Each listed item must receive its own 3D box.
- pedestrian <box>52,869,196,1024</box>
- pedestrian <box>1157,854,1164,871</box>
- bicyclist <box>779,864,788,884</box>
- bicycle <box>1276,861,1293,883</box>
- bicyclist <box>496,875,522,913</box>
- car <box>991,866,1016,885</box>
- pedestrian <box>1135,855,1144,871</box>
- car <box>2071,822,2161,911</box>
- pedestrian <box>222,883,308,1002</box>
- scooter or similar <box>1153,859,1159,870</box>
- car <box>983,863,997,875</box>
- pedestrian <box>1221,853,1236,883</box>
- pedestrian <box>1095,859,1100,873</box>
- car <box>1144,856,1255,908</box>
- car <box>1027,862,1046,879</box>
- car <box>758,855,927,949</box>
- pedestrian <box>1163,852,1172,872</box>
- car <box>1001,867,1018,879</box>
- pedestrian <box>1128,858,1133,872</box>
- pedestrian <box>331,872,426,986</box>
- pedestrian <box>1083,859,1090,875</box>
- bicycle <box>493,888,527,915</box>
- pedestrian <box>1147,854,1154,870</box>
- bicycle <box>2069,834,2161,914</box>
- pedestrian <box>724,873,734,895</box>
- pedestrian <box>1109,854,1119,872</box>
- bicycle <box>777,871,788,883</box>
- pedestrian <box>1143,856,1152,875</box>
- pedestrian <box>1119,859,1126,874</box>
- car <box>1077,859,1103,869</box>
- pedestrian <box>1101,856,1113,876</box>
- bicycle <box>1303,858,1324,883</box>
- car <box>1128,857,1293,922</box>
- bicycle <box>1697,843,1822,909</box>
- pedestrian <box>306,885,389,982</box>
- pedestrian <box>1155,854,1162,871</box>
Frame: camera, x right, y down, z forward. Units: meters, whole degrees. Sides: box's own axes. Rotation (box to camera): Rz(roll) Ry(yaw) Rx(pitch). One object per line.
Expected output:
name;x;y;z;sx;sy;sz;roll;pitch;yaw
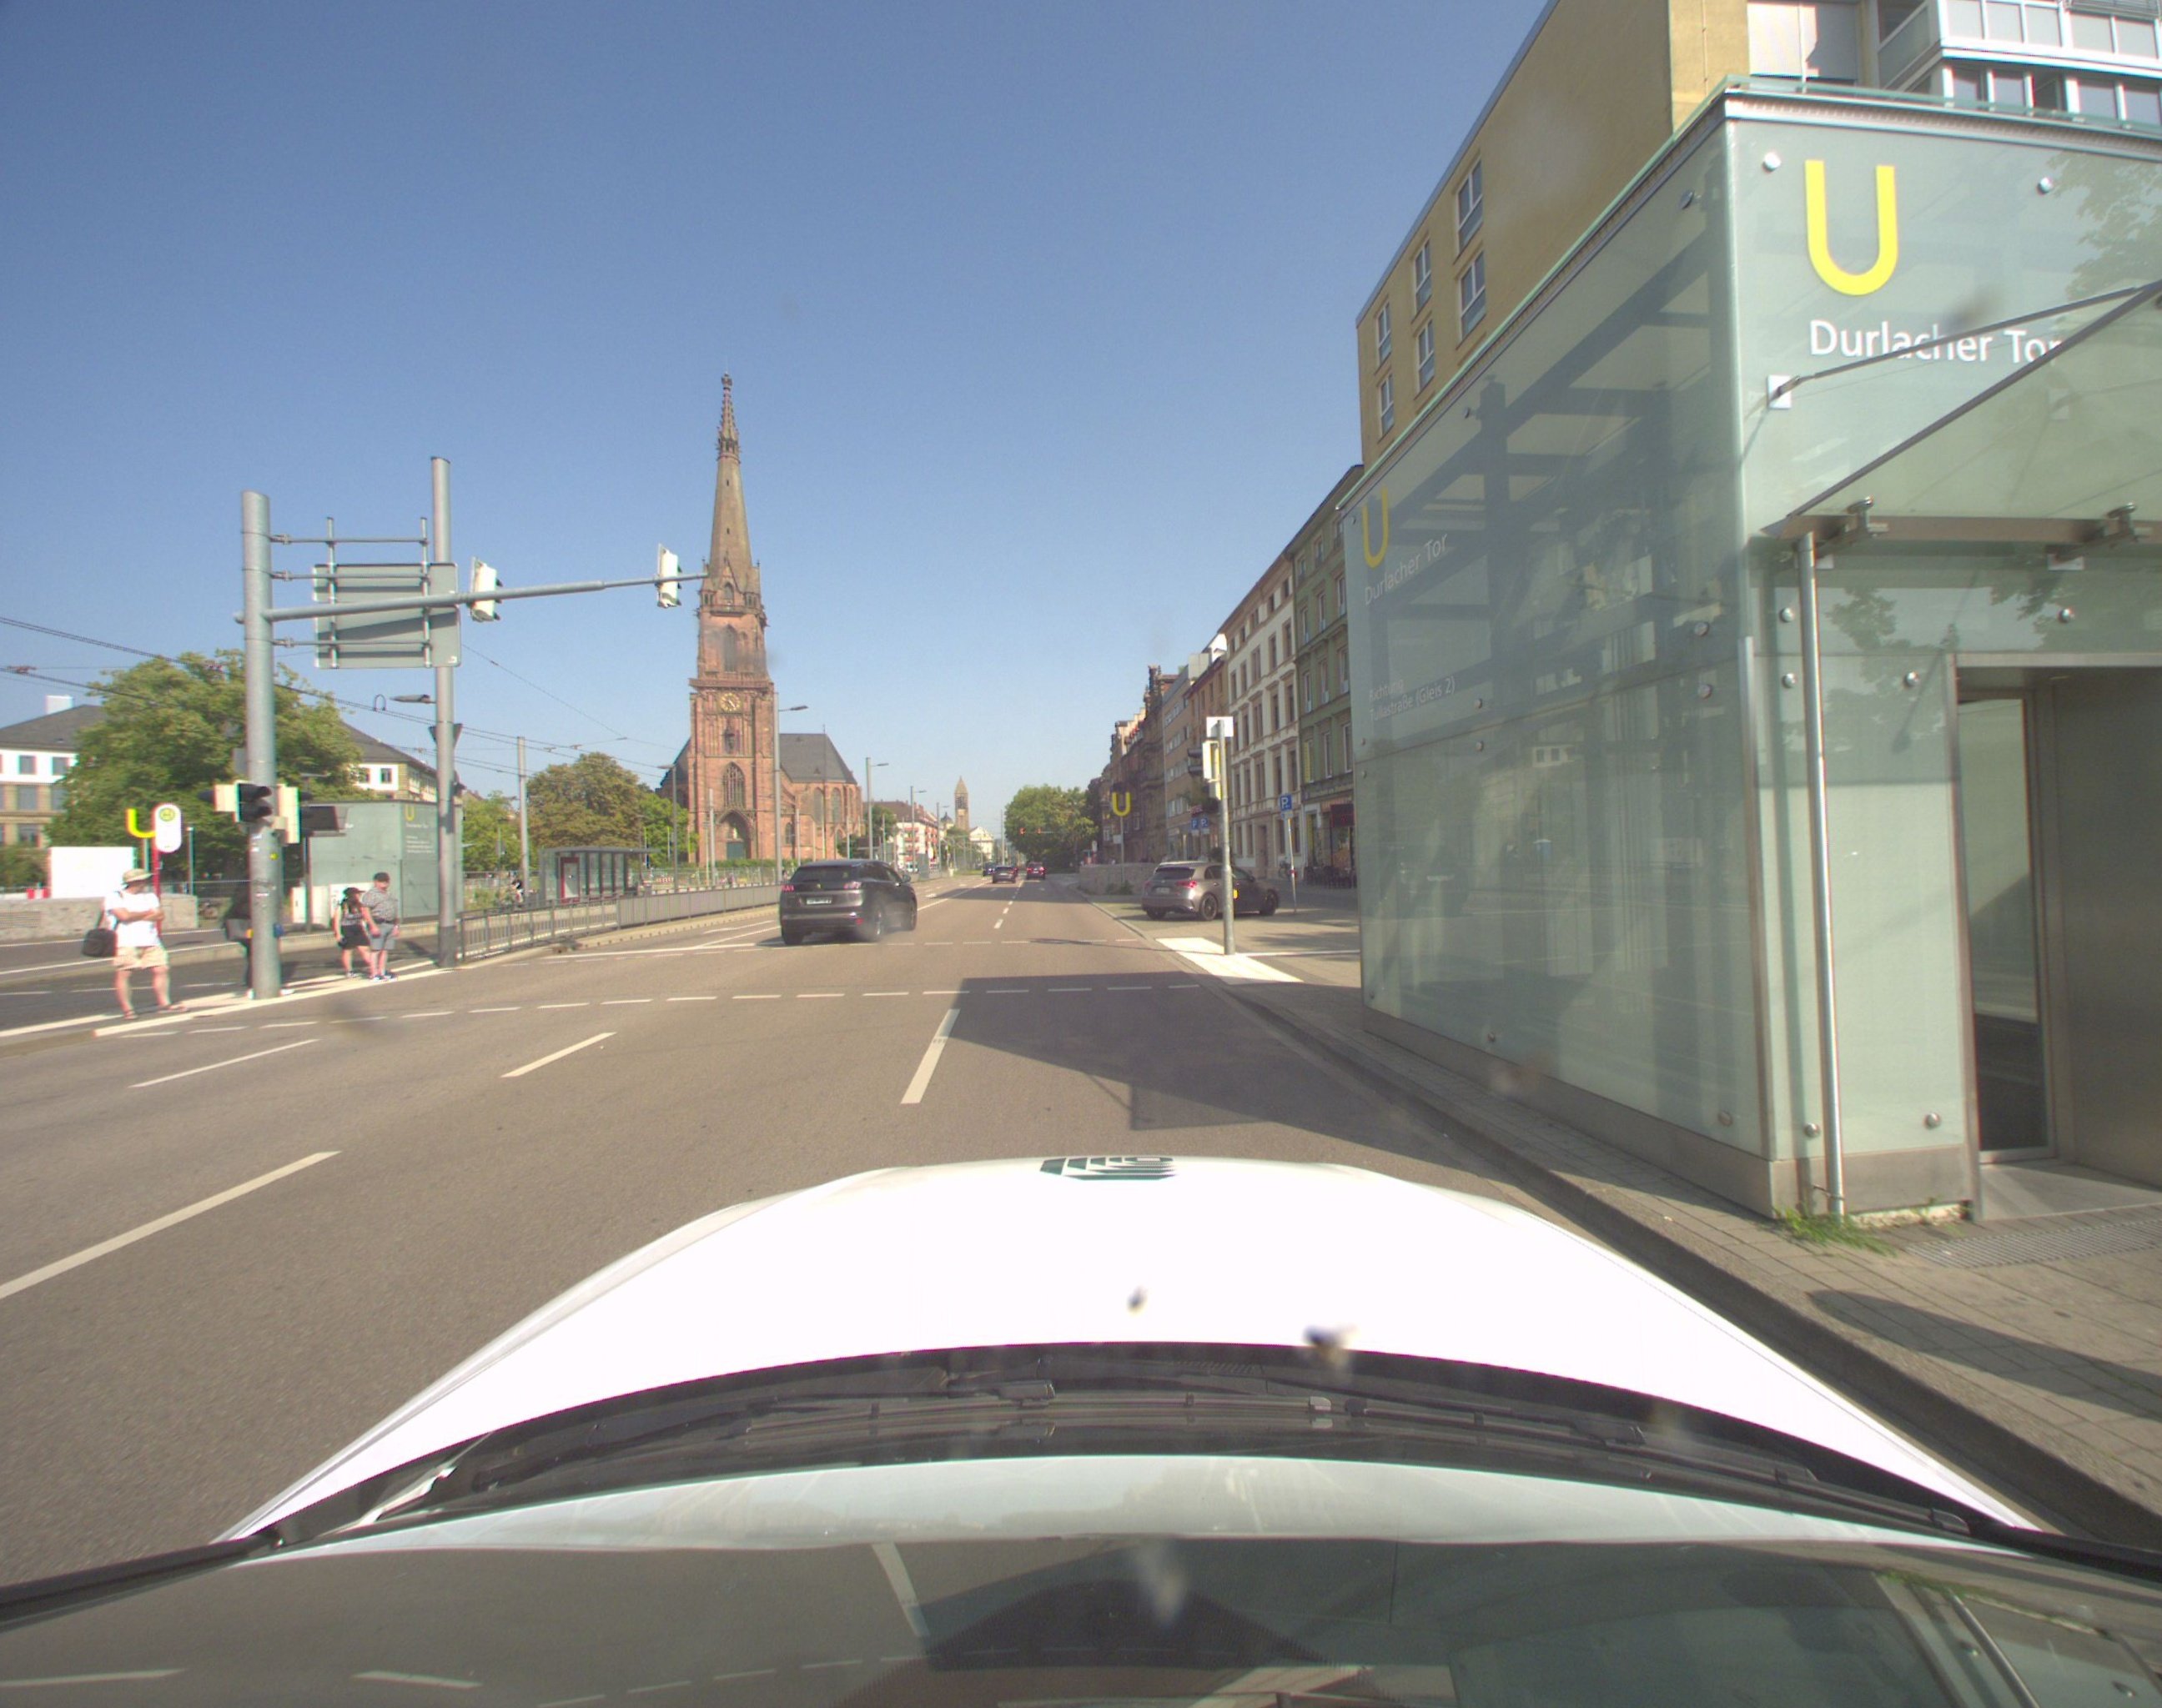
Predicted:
pedestrian;-11.873;1.114;10.132;0.829;1.788;0.730;-5;-1;4
pedestrian;8.202;0.855;83.832;0.603;1.731;0.509;-2;-1;-7
bicyclist;-26.591;1.773;72.833;0.485;1.747;0.818;-2;-1;-3
bicycle;10.772;0.949;43.153;0.382;1.134;1.717;-2;-1;-3
bicyclist;-25.828;1.793;36.762;0.586;1.657;0.789;-2;-1;-3
car;-6.144;1.697;64.924;1.860;1.424;4.351;-1;0;-3
pedestrian;5.879;0.911;81.572;0.718;1.610;0.855;-2;-1;-3
car;18.460;0.171;12.368;1.652;1.441;4.190;-2;0;-2
pedestrian;-11.660;1.249;11.652;0.632;1.597;0.467;-4;-1;-6
scooter or similar;7.644;1.067;82.591;0.359;1.163;1.150;-2;0;-6
car;-12.452;2.098;111.673;1.737;1.526;3.867;-2;0;-5
pedestrian;8.242;0.773;45.386;0.607;1.629;0.736;-2;-1;-3
pedestrian;2.059;1.425;99.901;0.480;1.702;0.701;-2;-1;-7
car;3.760;0.849;25.522;1.603;1.464;3.549;-3;-1;44
car;-4.496;1.672;81.564;1.828;1.621;4.351;-1;0;-3
car;-4.702;0.874;16.812;1.986;1.621;4.359;-2;0;2
pedestrian;8.268;0.744;77.752;0.603;1.831;0.740;-2;-1;-7
car;-8.404;2.245;96.514;1.860;1.424;4.351;-1;0;-3
pedestrian;5.966;1.341;97.485;0.485;1.610;0.812;-2;-1;-3
pedestrian;-11.064;1.157;12.849;0.812;1.692;0.650;-4;-1;-4
pedestrian;0.605;1.353;86.167;0.564;1.729;0.743;-2;-1;-7
bicycle;-25.794;2.149;36.844;0.401;1.109;1.743;-2;-1;-5
pedestrian;7.445;0.849;87.373;0.603;1.654;0.585;-2;-1;-7
bicycle;16.895;0.302;12.459;0.522;1.235;2.295;-2;0;-8
pedestrian;-27.759;2.327;64.202;0.516;1.700;0.663;-2;-1;-5
pedestrian;3.233;0.842;79.983;0.749;1.729;0.799;-2;-1;-7
bicycle;-26.652;2.044;72.709;0.349;0.954;1.693;-2;-1;-3
pedestrian;6.686;1.150;81.654;0.718;1.787;0.855;-2;-1;-3
pedestrian;4.951;1.457;97.094;0.615;1.804;1.070;-2;-1;-3
car;1.524;1.776;140.890;4.178;1.563;1.994;-2;-1;-8
pedestrian;2.451;1.102;76.576;0.924;1.831;0.799;-2;-1;-7
bicycle;10.999;0.786;38.591;0.382;1.134;1.717;-2;-1;-3
car;3.440;0.860;21.056;4.434;1.423;1.825;-1;-1;-43
bicycle;13.683;0.438;16.446;2.013;1.206;0.670;-2;0;-4
pedestrian;-12.468;1.334;13.854;0.806;1.548;0.547;-4;-1;-3
pedestrian;8.064;0.907;84.586;0.603;1.692;0.585;-2;-1;-7
